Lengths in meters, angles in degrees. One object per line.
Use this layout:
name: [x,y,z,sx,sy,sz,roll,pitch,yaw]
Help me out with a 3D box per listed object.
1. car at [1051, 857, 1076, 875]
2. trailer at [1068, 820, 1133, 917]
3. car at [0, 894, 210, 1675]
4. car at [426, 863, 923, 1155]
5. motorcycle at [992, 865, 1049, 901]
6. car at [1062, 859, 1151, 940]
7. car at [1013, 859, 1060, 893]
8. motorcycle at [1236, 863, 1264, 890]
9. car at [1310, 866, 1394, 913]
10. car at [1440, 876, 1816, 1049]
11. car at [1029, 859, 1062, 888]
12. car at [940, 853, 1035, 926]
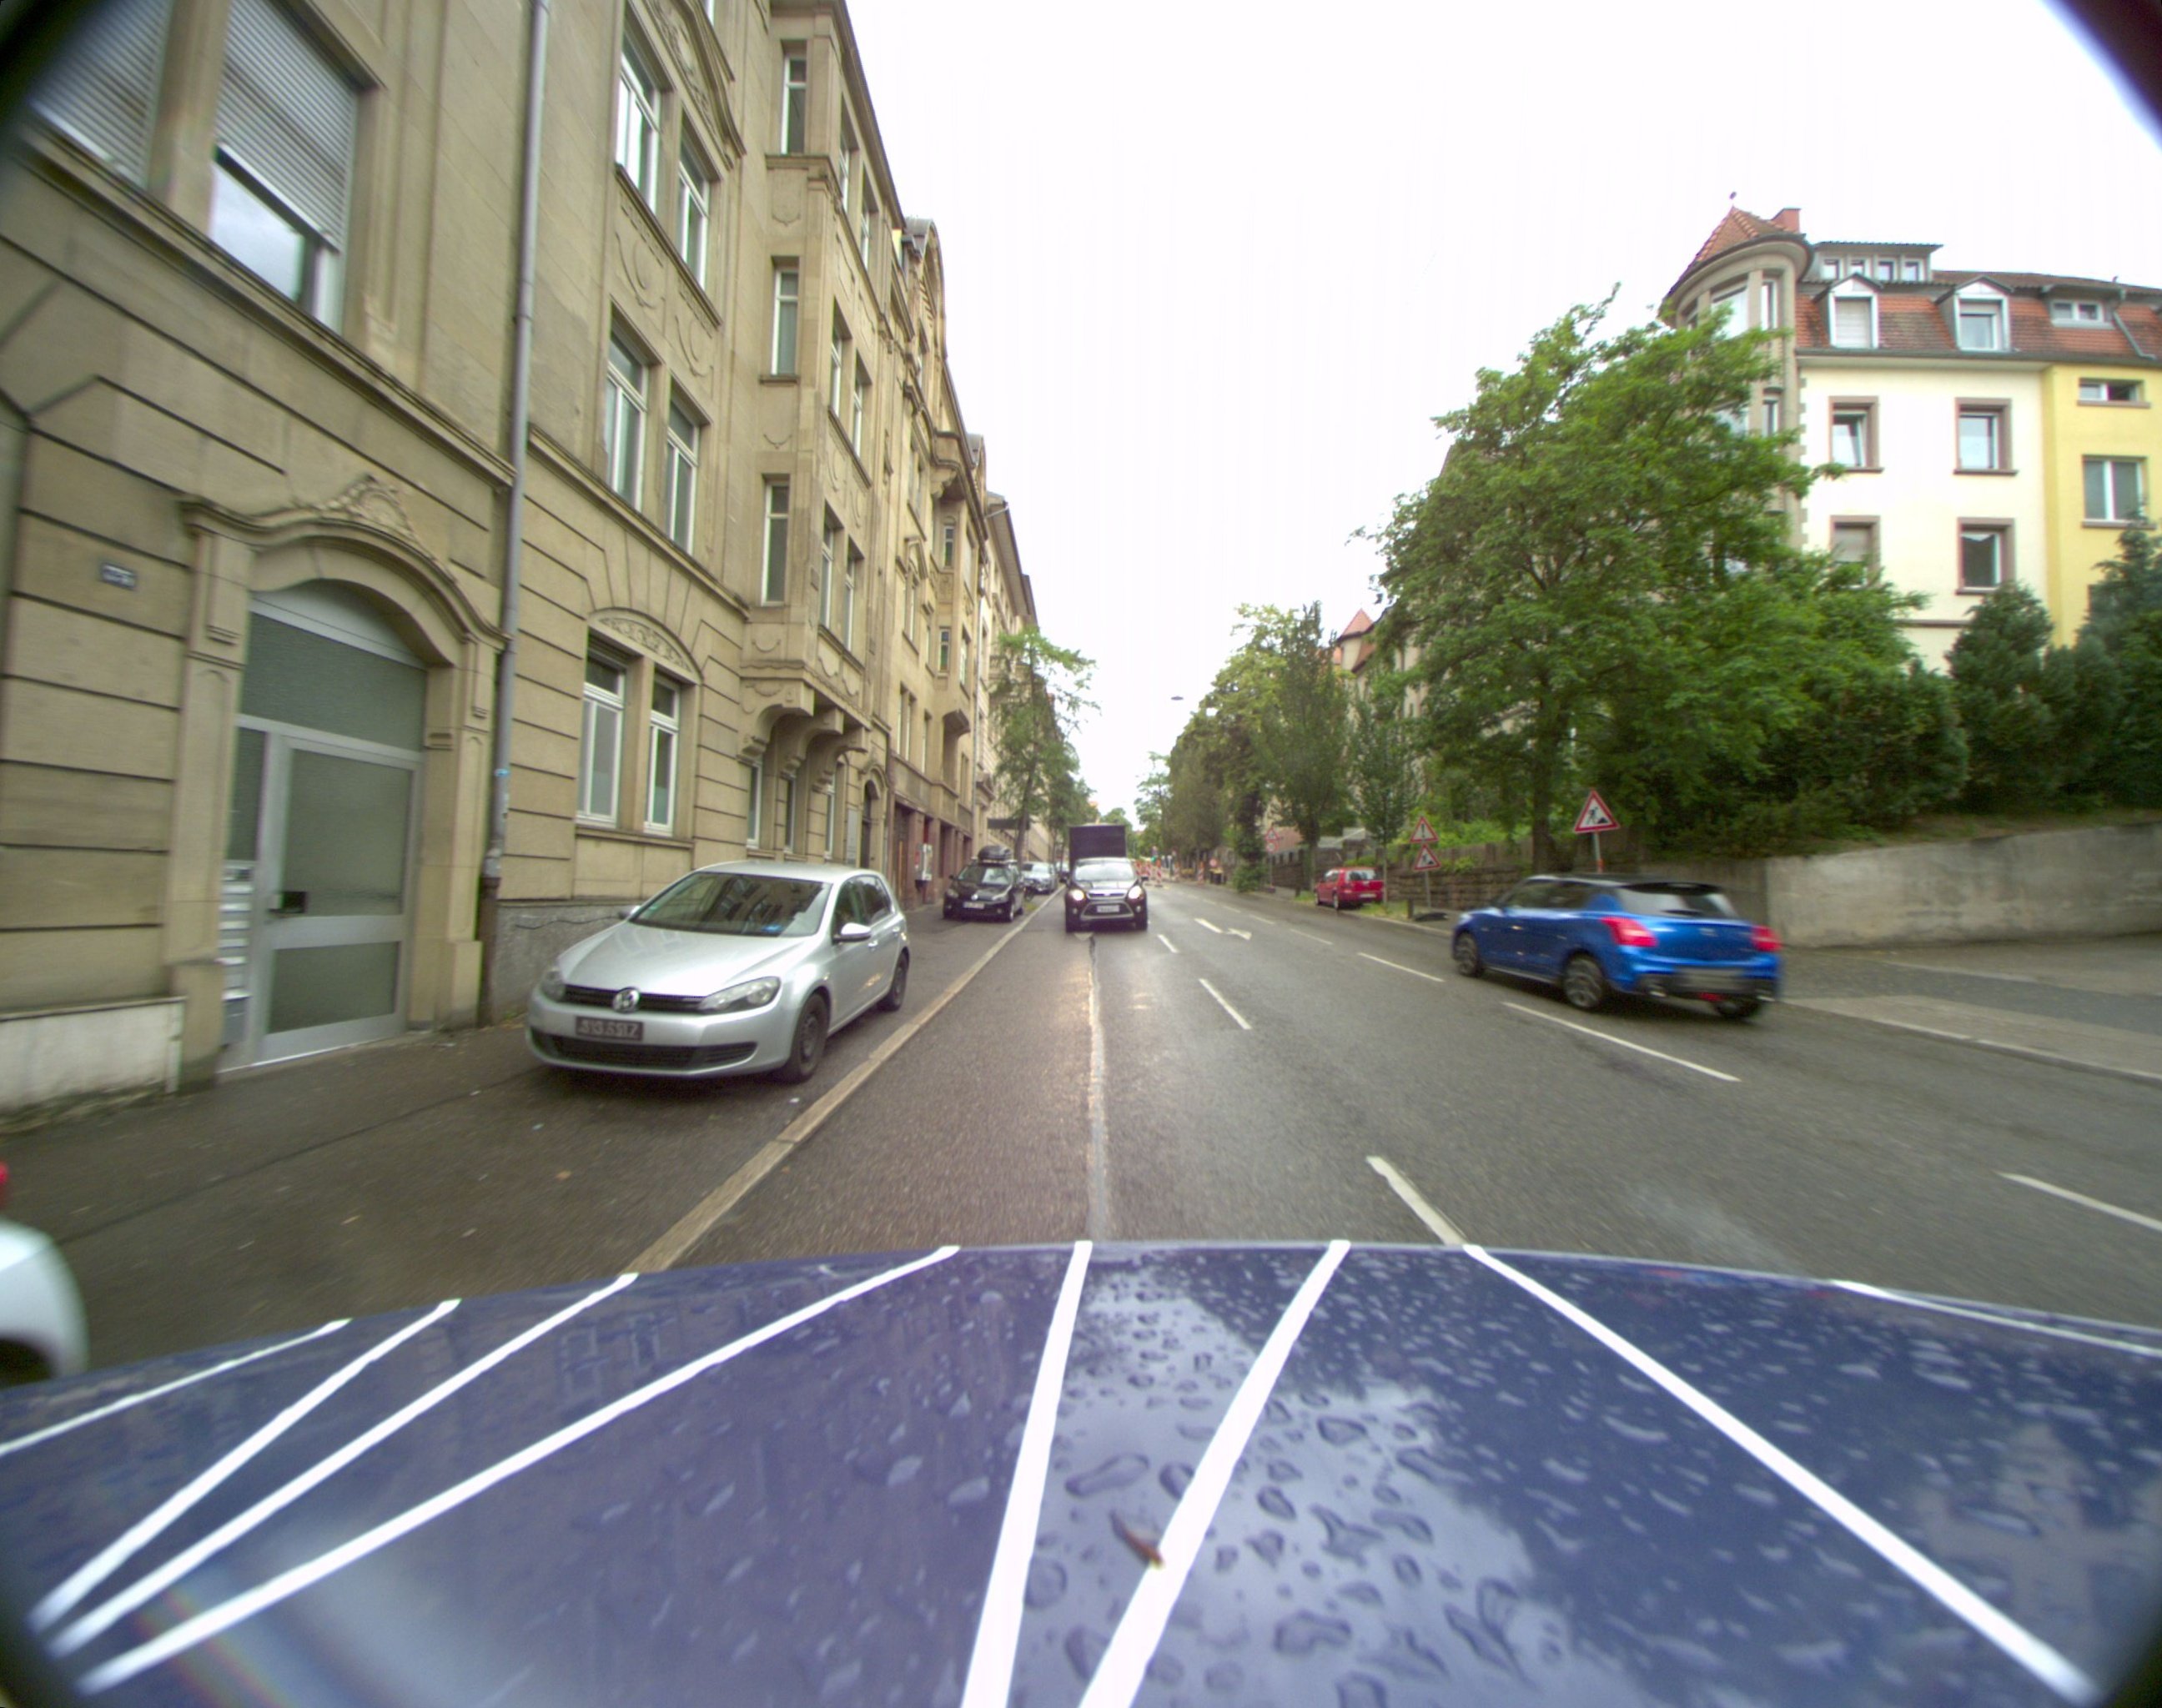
car: [-1.542,1.024,67.304,1.910,1.502,4.318,3,0,2]
trailer: [0.574,0.403,23.955,1.783,2.744,4.817,-1,0,0]
car: [-2.800,0.844,0.329,1.302,1.534,2.976,4,0,1]
car: [-2.679,0.883,6.213,1.764,1.443,4.000,4,0,1]
motorcycle: [-2.182,1.076,27.618,0.523,1.236,2.282,3,-1,41]
car: [0.605,0.951,17.889,1.823,1.662,4.523,-1,0,2]
car: [-2.045,0.996,36.135,1.794,1.444,4.039,3,0,2]
motorcycle: [9.521,1.255,42.932,0.802,1.406,3.062,-2,0,-2]
car: [9.461,1.200,26.818,1.617,1.442,4.064,-1,0,2]
car: [6.036,1.077,9.031,1.719,1.442,3.742,3,0,0]
car: [-1.898,1.054,41.365,1.495,1.440,3.181,2,0,2]
car: [-2.377,0.865,20.349,1.764,1.641,4.099,4,0,2]
